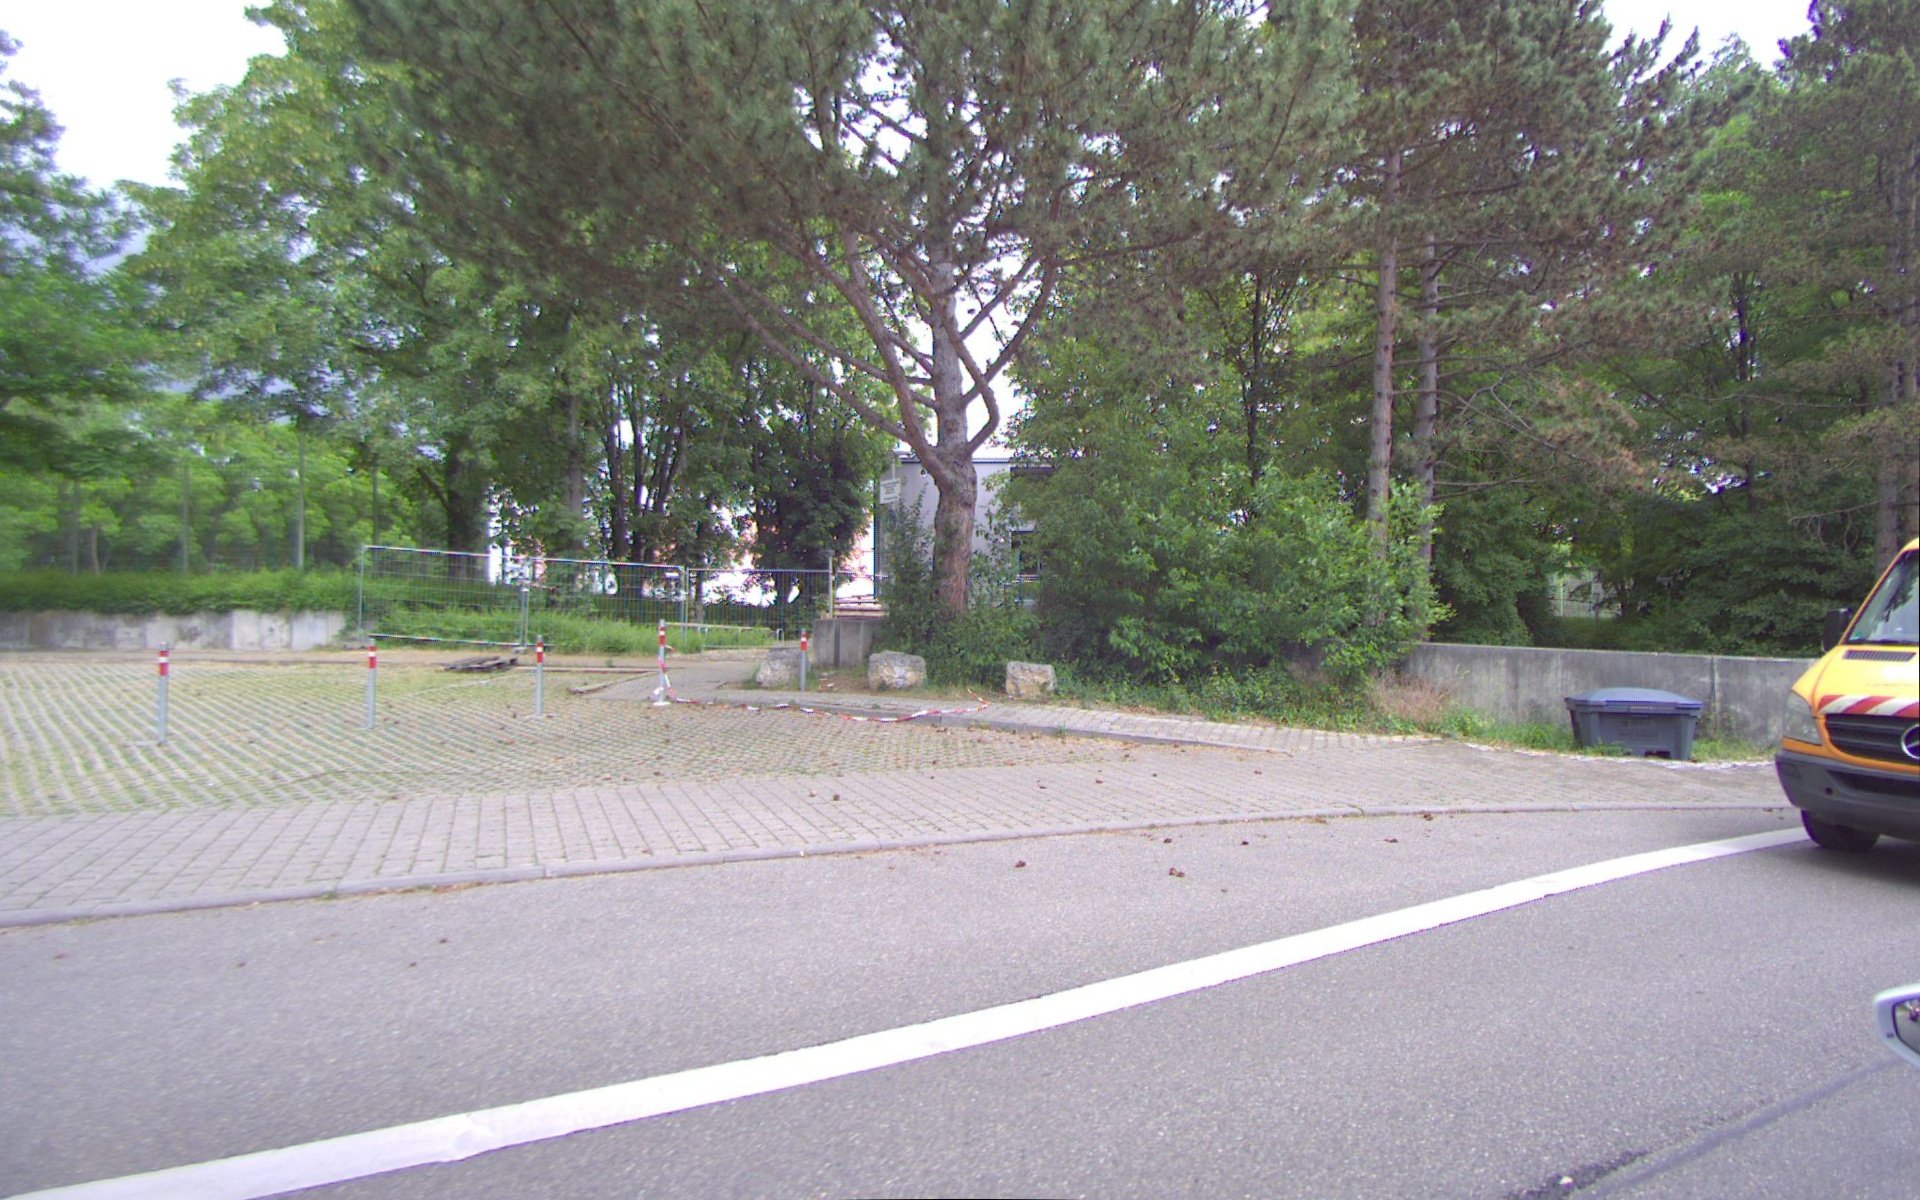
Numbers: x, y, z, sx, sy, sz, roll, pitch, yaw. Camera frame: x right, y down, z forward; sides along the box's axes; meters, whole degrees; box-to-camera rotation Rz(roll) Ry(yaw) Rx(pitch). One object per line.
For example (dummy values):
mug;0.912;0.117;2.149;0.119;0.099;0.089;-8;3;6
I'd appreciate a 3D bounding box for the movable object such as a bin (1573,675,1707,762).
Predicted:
movable object such as a bin;7.334;1.255;10.909;1.127;0.770;1.047;2;0;32

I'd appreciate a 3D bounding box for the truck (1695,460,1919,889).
truck;8.319;0.468;7.063;5.933;2.503;2.317;1;0;-22
